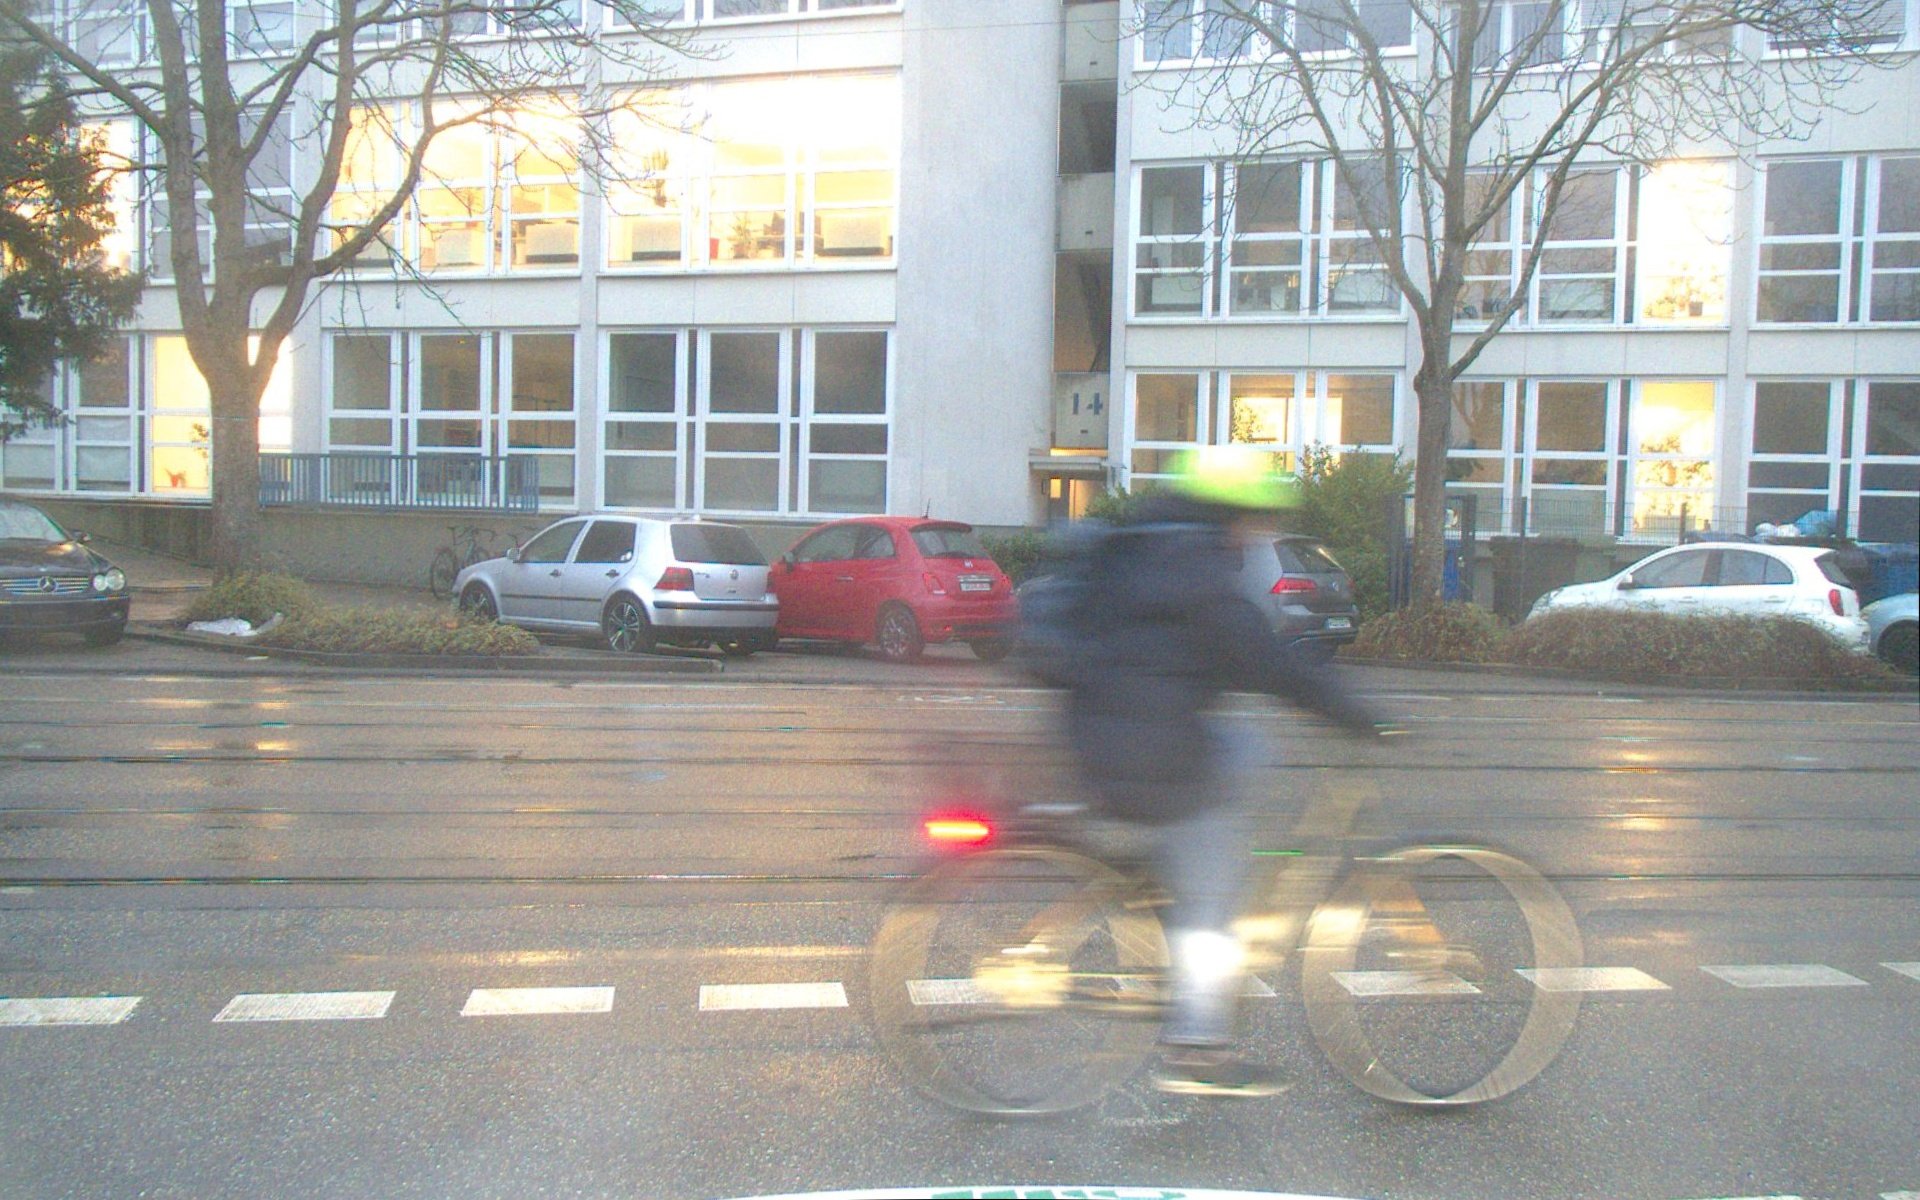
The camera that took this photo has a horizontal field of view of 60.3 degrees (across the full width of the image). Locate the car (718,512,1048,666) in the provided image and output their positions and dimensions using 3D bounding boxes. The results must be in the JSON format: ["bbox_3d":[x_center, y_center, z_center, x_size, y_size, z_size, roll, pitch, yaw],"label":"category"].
[{"bbox_3d":[-0.897,-0.188,18.202,3.389,1.518,1.720,3,3,41],"label":"car"}]

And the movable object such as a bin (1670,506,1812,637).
[{"bbox_3d":[11.727,-0.452,24.896,1.288,1.892,1.573,0,2,-6],"label":"movable object such as a bin"}]

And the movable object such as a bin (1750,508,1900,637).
[{"bbox_3d":[13.082,-0.444,25.082,1.362,1.892,1.573,0,2,-7],"label":"movable object such as a bin"}]

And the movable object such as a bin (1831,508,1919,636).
[{"bbox_3d":[14.396,-0.456,25.240,1.288,1.892,1.573,0,2,-6],"label":"movable object such as a bin"}]

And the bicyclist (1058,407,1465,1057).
[{"bbox_3d":[0.708,0.292,4.098,0.830,1.471,0.657,0,2,-5],"label":"bicyclist"}]

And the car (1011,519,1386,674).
[{"bbox_3d":[2.576,-0.111,18.284,3.781,1.518,1.688,3,3,39],"label":"car"}]

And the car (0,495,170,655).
[{"bbox_3d":[-9.510,-0.304,16.147,3.927,1.402,1.846,3,3,41],"label":"car"}]

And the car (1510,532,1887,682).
[{"bbox_3d":[8.727,0.006,19.675,3.802,1.578,1.686,3,3,38],"label":"car"}]

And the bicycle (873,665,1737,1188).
[{"bbox_3d":[0.789,0.753,4.132,1.983,1.115,0.709,0,2,-5],"label":"bicycle"}]

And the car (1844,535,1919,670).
[{"bbox_3d":[12.823,0.056,19.512,3.927,1.590,1.727,3,3,41],"label":"car"}]

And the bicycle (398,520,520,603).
[{"bbox_3d":[-7.238,-0.575,24.018,0.626,1.140,2.208,1,2,15],"label":"bicycle"}]

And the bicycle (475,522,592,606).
[{"bbox_3d":[-6.072,-0.532,23.704,0.626,1.140,2.208,1,2,15],"label":"bicycle"}]

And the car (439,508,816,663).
[{"bbox_3d":[-3.588,-0.226,17.576,3.921,1.471,1.786,2,3,37],"label":"car"}]
